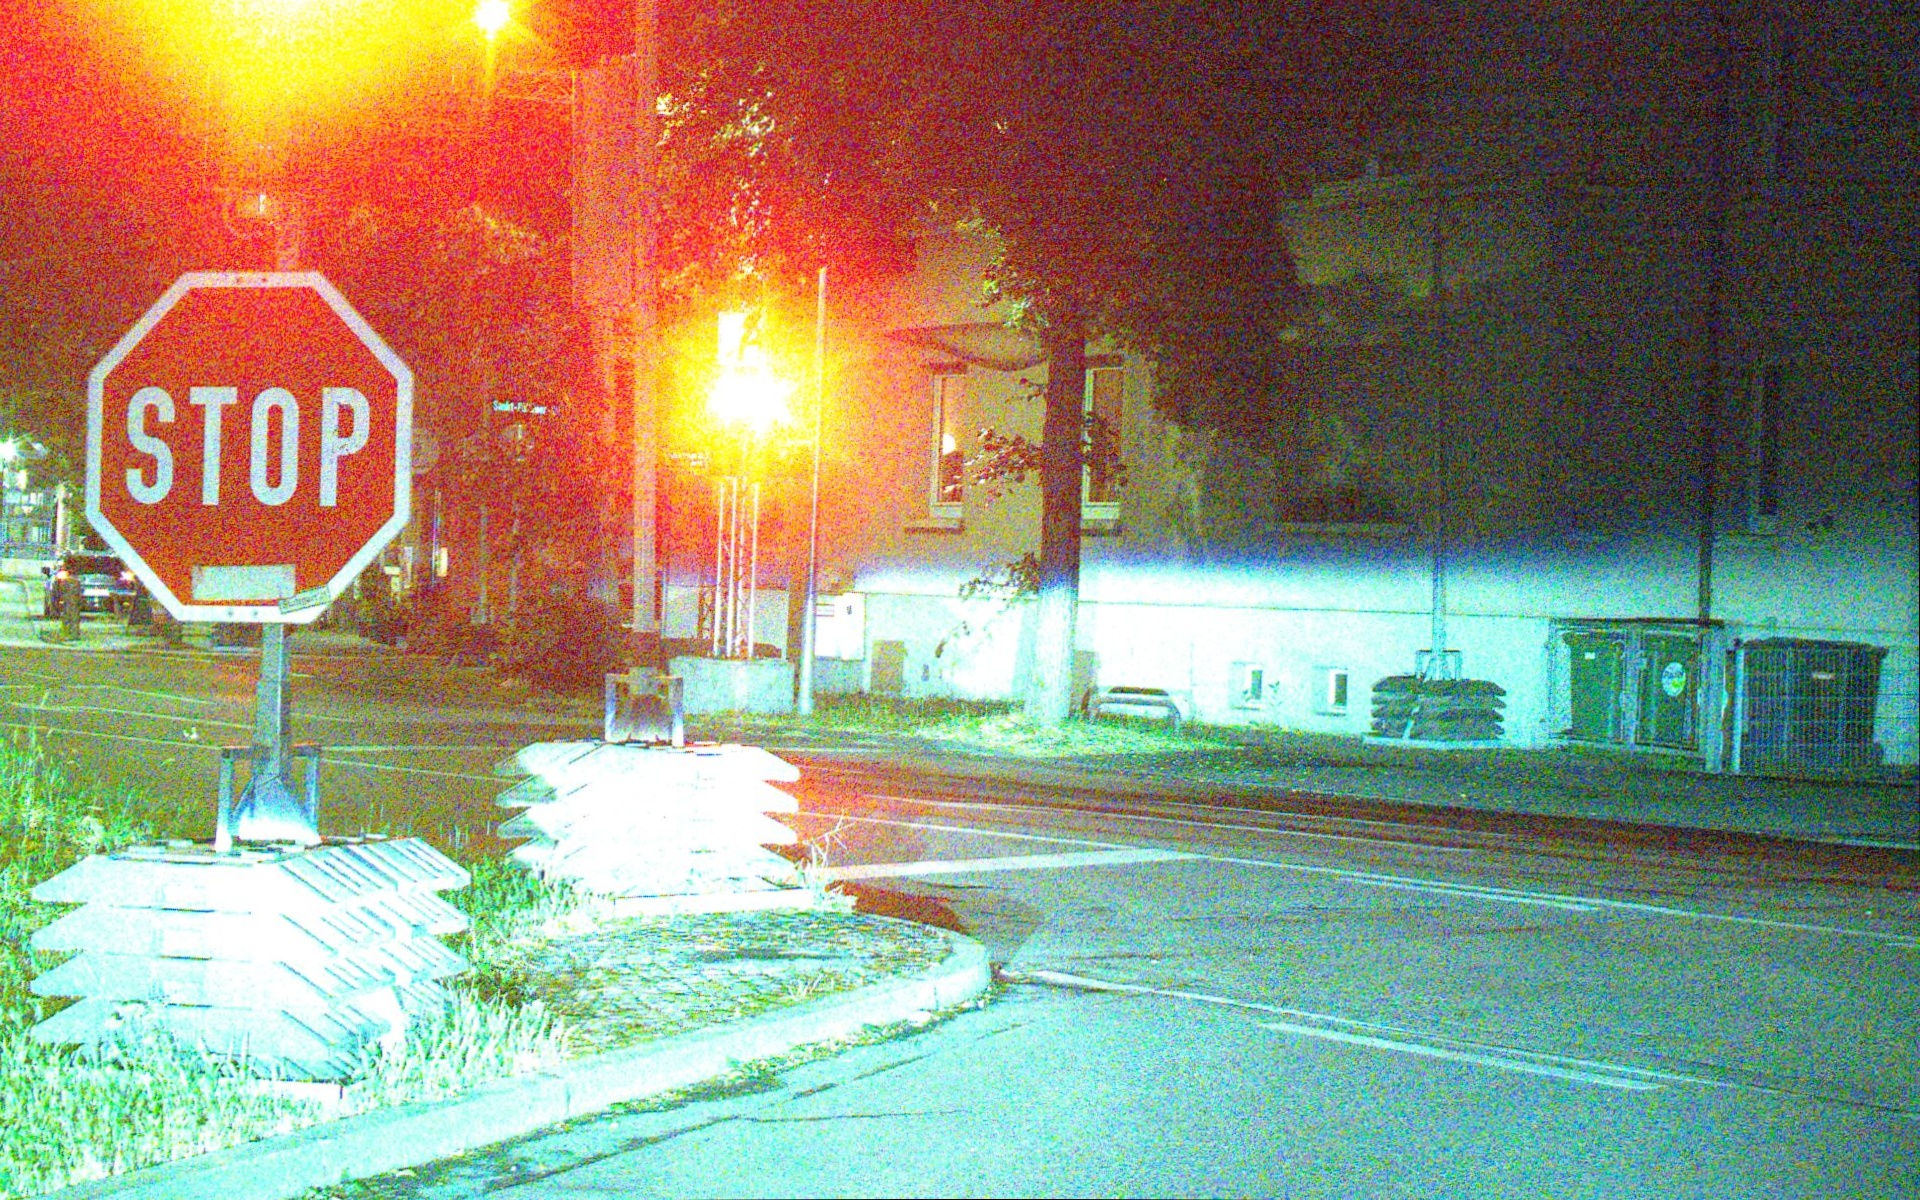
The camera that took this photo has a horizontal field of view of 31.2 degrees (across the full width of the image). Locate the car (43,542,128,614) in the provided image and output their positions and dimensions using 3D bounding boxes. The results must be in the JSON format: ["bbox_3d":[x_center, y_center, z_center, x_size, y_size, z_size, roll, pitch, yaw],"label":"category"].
[{"bbox_3d":[-18.271,-0.475,71.894,1.651,1.426,4.001,2,1,-14],"label":"car"}]
